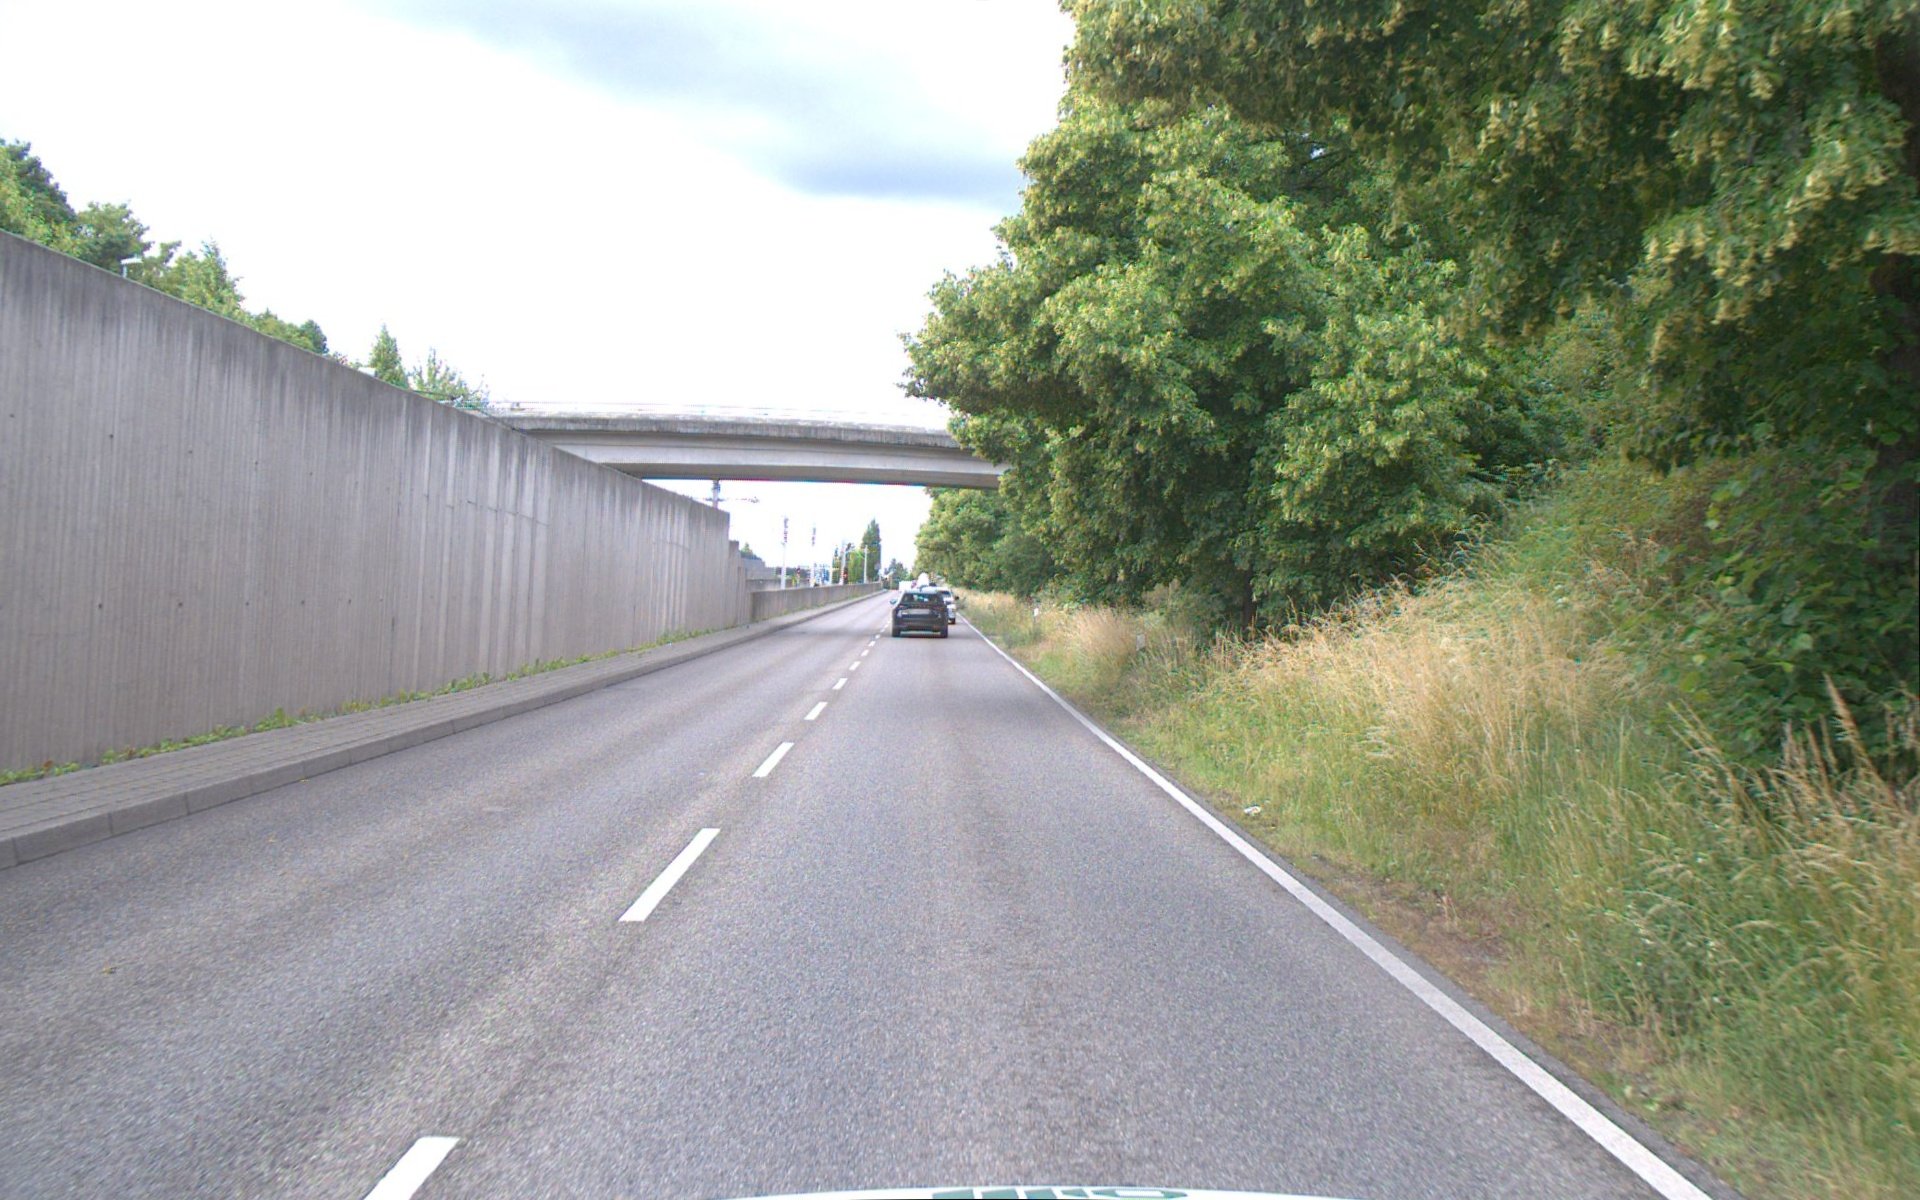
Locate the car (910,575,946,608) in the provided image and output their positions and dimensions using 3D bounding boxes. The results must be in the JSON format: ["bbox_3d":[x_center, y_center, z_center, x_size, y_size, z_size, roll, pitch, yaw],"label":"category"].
[{"bbox_3d":[-1.821,-0.474,93.598,1.953,1.771,3.999,1,-1,-1],"label":"car"}]

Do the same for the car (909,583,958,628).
[{"bbox_3d":[-1.124,0.229,68.732,1.953,1.783,3.999,1,0,-1],"label":"car"}]

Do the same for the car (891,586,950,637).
[{"bbox_3d":[-1.236,0.341,51.668,1.745,1.493,3.999,1,0,-1],"label":"car"}]
